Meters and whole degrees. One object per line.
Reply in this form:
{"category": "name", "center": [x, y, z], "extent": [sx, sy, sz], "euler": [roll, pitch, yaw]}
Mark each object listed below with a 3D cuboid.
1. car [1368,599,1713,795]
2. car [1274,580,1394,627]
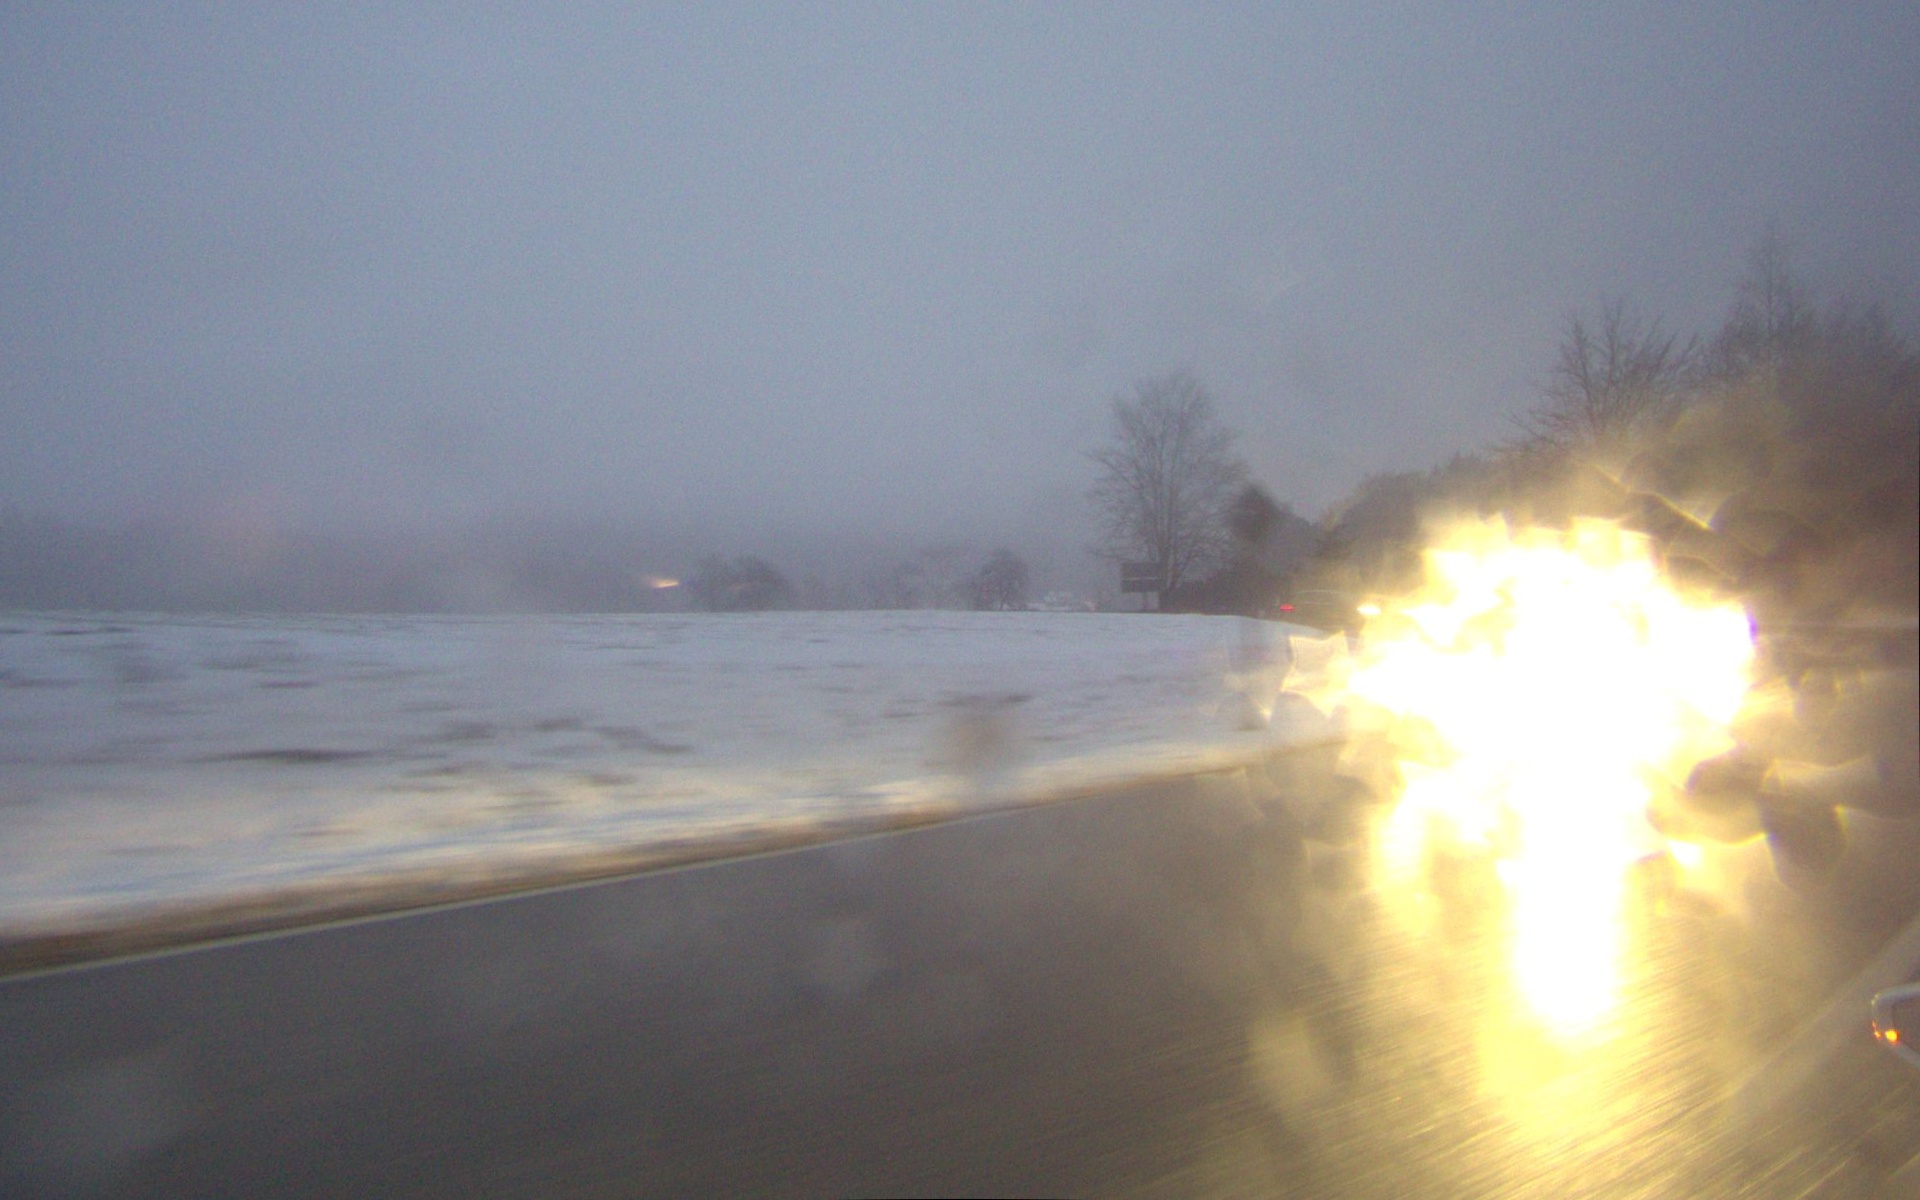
{"category": "car", "center": [5.729, 0.761, 9.720], "extent": [3.973, 1.506, 1.726], "euler": [0, -1, -41]}
{"category": "car", "center": [17.265, 0.119, 46.548], "extent": [1.672, 1.971, 4.958], "euler": [0, 2, -41]}
